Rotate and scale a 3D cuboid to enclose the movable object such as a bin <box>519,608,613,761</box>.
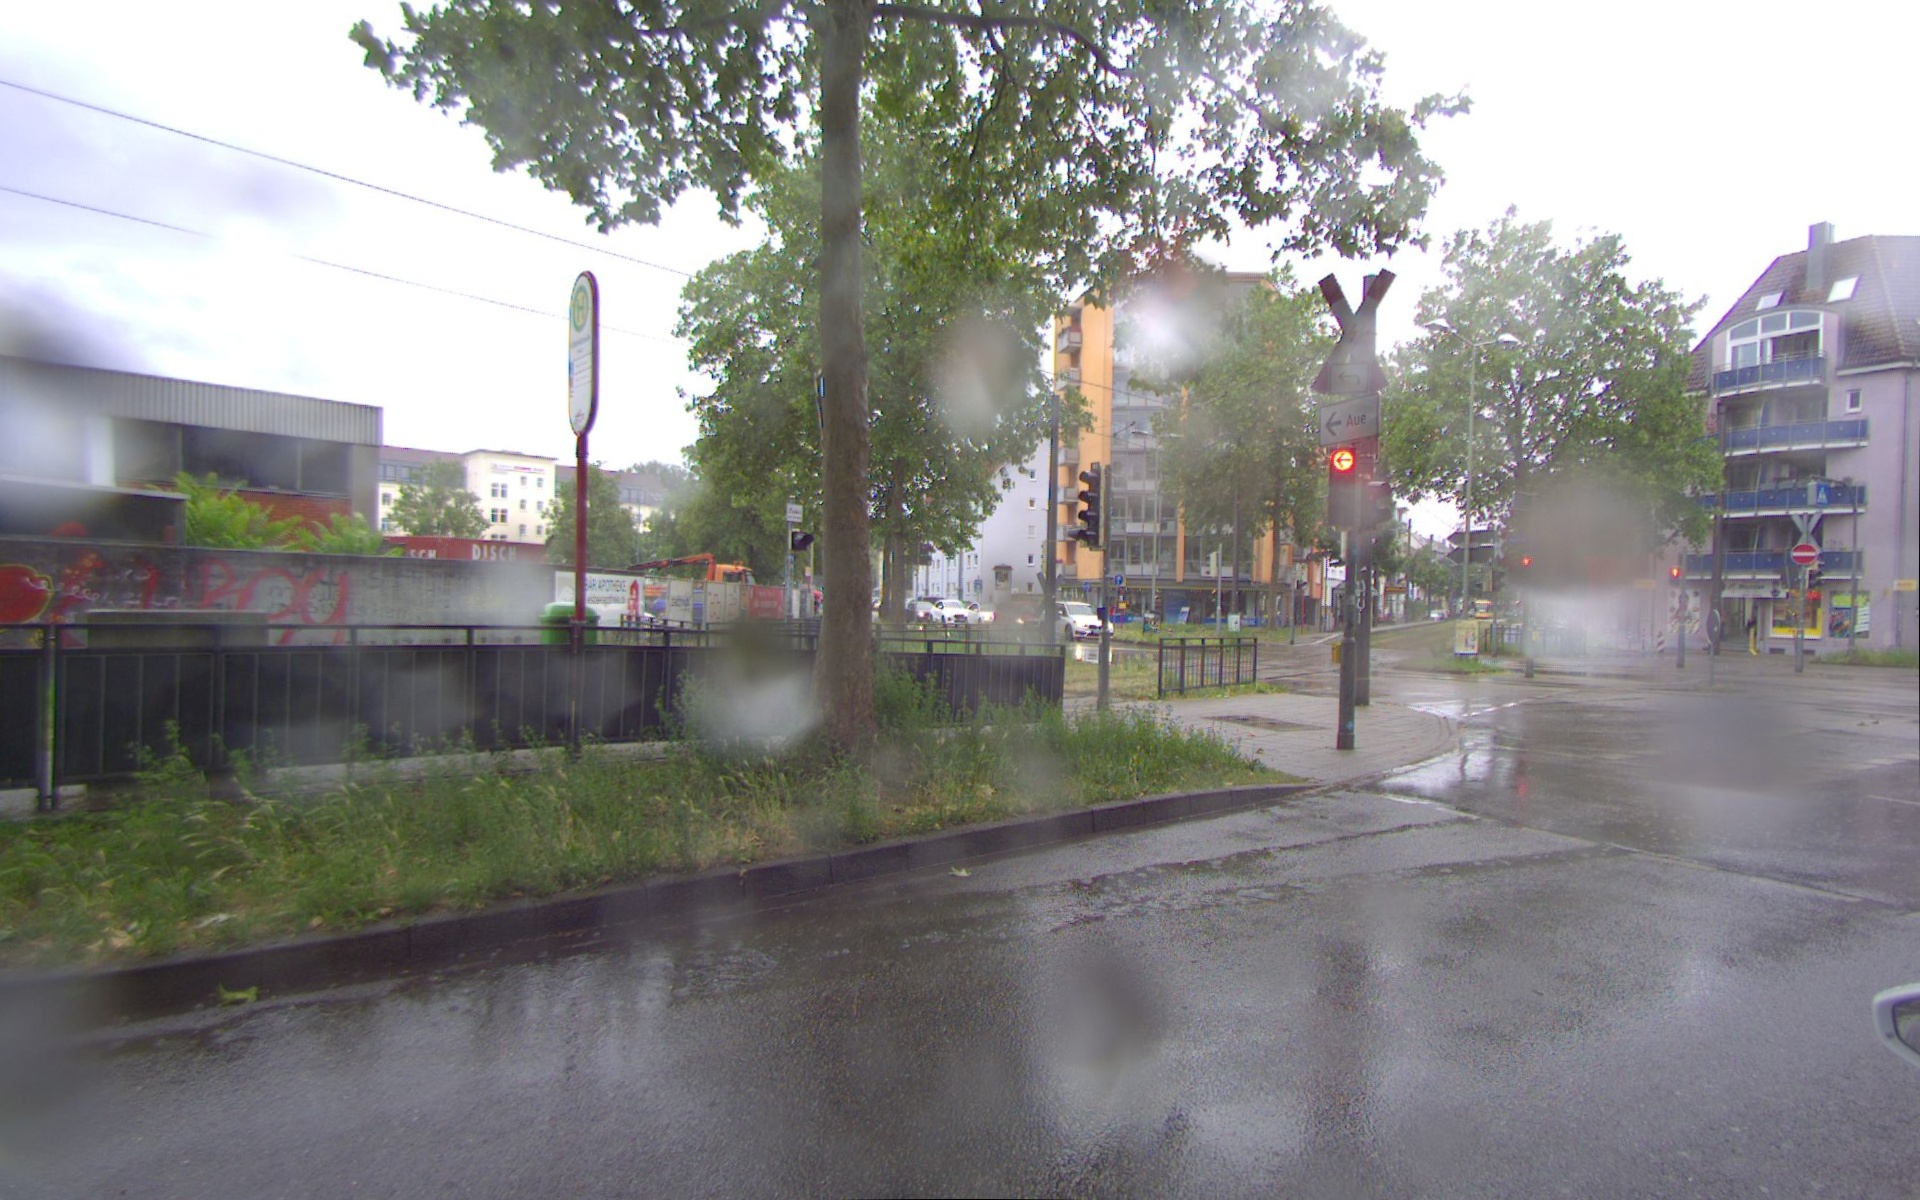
[{"bbox_3d":[-2.967,0.614,7.573,0.412,1.104,0.528,-1,-1,44],"label":"movable object such as a bin"}]

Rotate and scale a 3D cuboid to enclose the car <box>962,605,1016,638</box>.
[{"bbox_3d":[1.490,1.118,52.373,1.697,1.661,3.780,1,-1,-17],"label":"car"}]

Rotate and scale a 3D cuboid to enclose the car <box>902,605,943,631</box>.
[{"bbox_3d":[-2.430,1.160,64.423,1.697,1.661,3.780,1,-1,-17],"label":"car"}]

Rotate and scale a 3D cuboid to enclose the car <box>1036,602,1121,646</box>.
[{"bbox_3d":[4.710,0.955,40.340,1.941,1.673,4.004,1,-1,-17],"label":"car"}]

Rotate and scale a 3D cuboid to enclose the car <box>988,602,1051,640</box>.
[{"bbox_3d":[2.721,0.972,46.544,1.697,1.661,3.780,1,-1,-17],"label":"car"}]

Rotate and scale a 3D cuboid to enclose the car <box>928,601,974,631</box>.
[{"bbox_3d":[-0.555,0.951,58.350,1.697,1.661,3.780,1,-1,-17],"label":"car"}]
